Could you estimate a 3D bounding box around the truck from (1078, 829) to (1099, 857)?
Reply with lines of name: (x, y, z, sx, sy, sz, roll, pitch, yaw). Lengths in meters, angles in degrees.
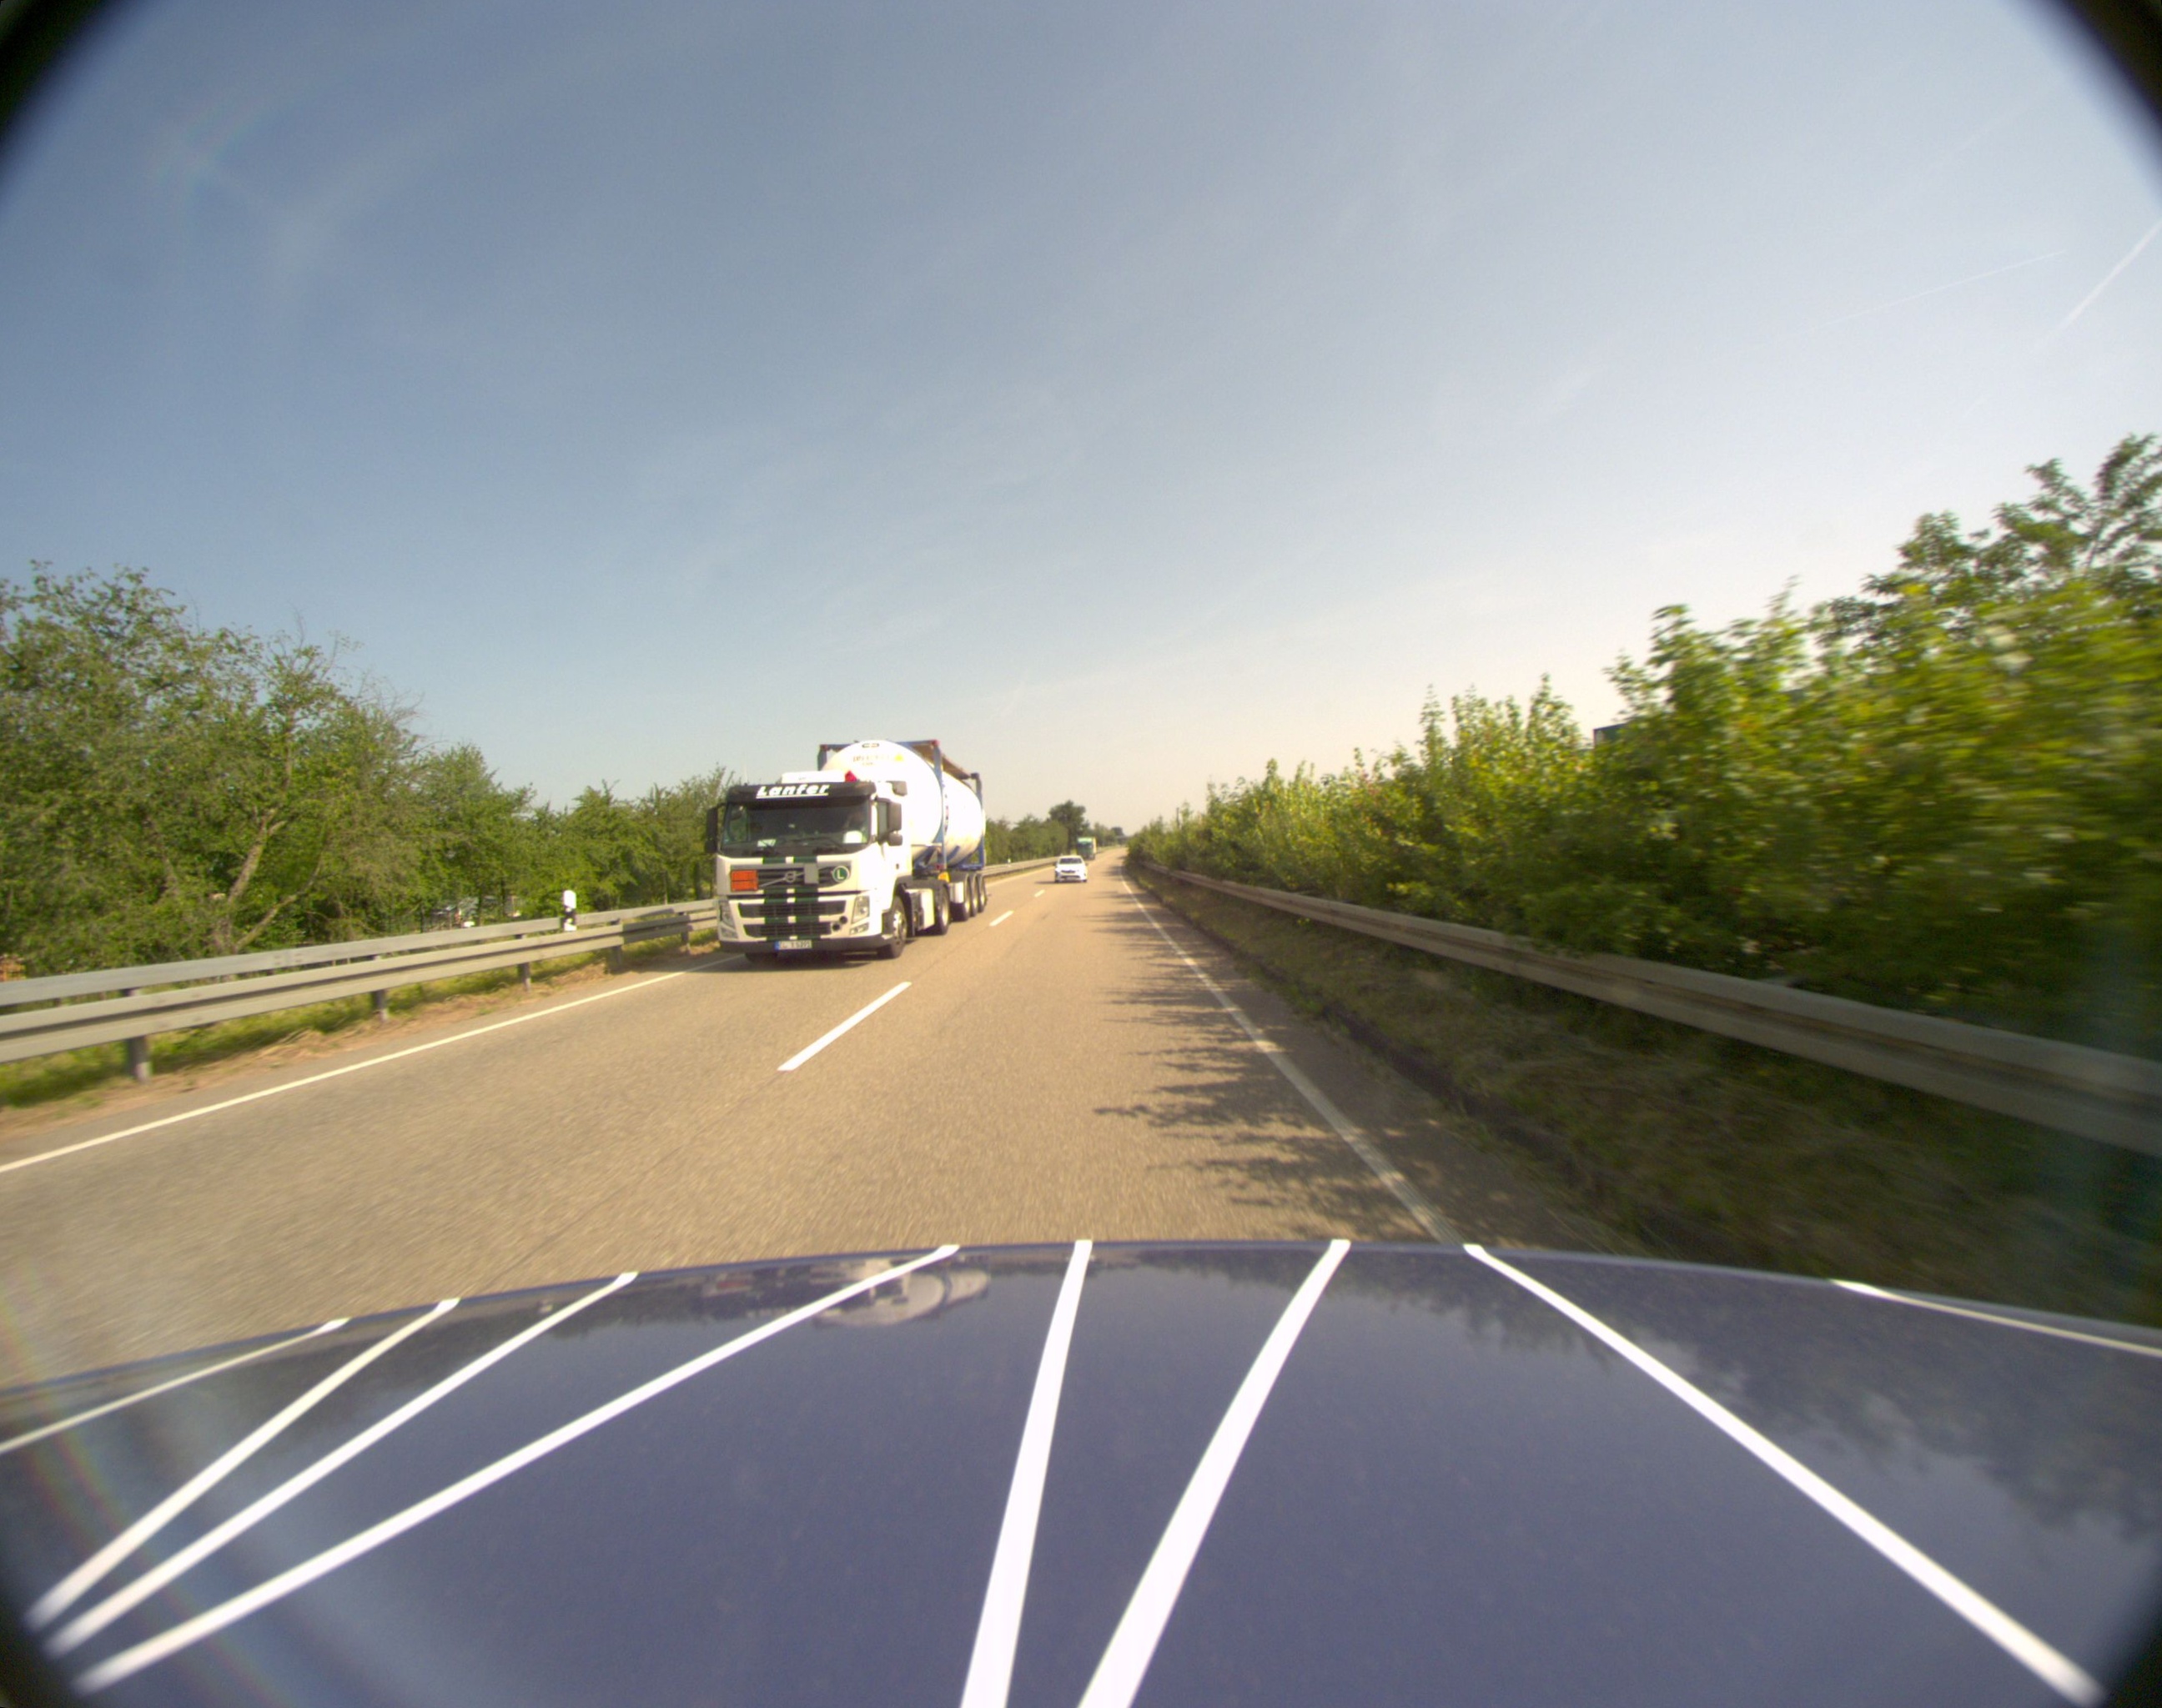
truck: (1.289, -1.789, 120.228, 2.548, 4.136, 8.442, -2, 1, 5)

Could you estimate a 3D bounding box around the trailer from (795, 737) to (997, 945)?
trailer: (-4.066, -0.269, 18.930, 2.763, 3.968, 8.186, -2, 0, 1)

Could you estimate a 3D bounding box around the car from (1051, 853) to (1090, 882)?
car: (-0.523, 0.716, 41.719, 1.789, 1.427, 4.000, -2, 1, 4)

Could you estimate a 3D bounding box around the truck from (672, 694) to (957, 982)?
truck: (-4.178, -0.232, 13.398, 2.778, 3.938, 5.627, -2, 1, 2)
